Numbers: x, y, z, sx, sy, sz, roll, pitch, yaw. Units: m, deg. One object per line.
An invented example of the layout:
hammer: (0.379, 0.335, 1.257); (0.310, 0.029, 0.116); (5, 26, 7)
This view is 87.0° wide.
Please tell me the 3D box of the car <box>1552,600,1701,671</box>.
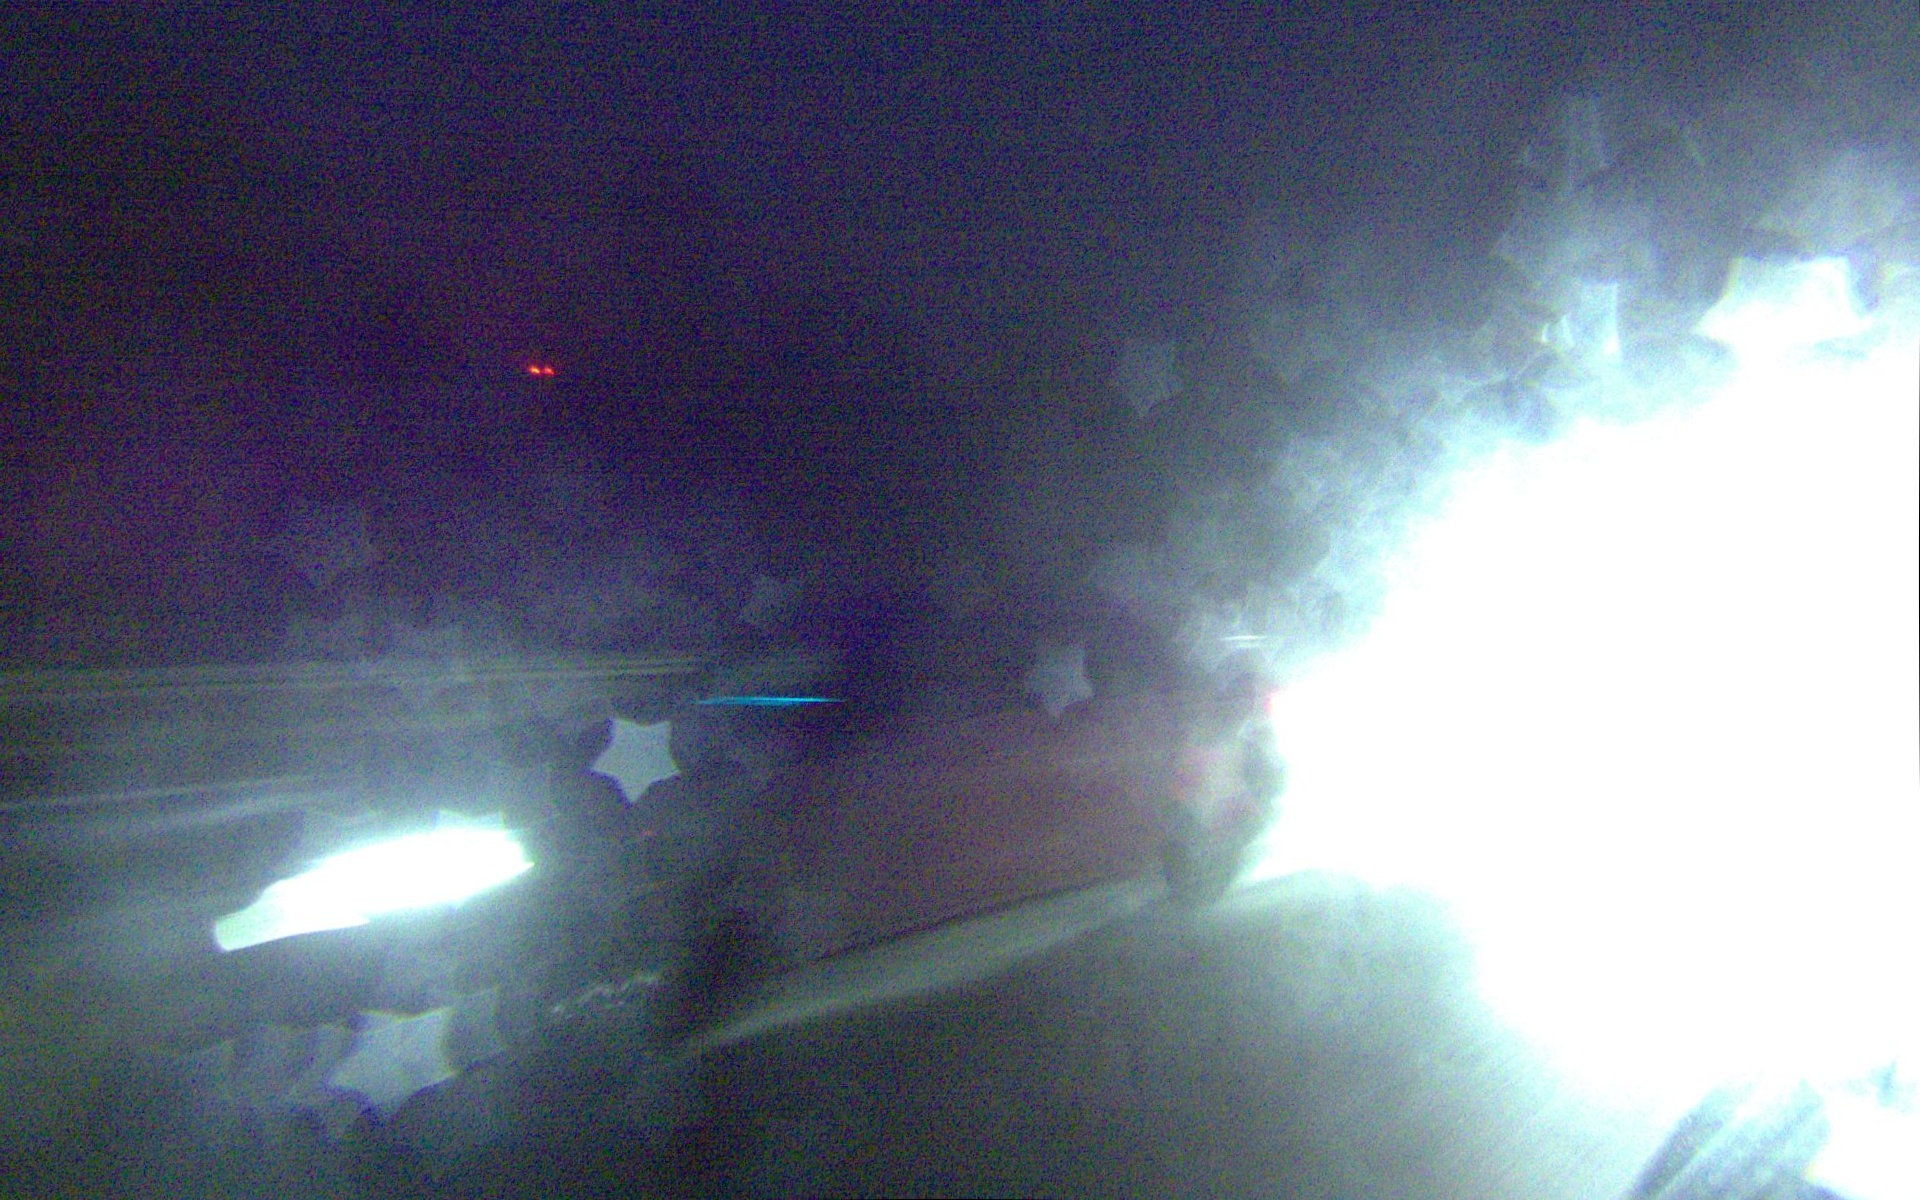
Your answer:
car: (15.525, 0.771, 23.528); (3.970, 1.516, 1.724); (1, -1, -38)

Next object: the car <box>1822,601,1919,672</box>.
car: (21.161, 0.778, 22.657); (4.256, 1.467, 1.998); (1, -1, -38)

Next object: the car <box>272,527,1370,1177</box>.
car: (-0.174, 0.593, 4.841); (4.930, 1.538, 2.060); (0, 0, -42)
